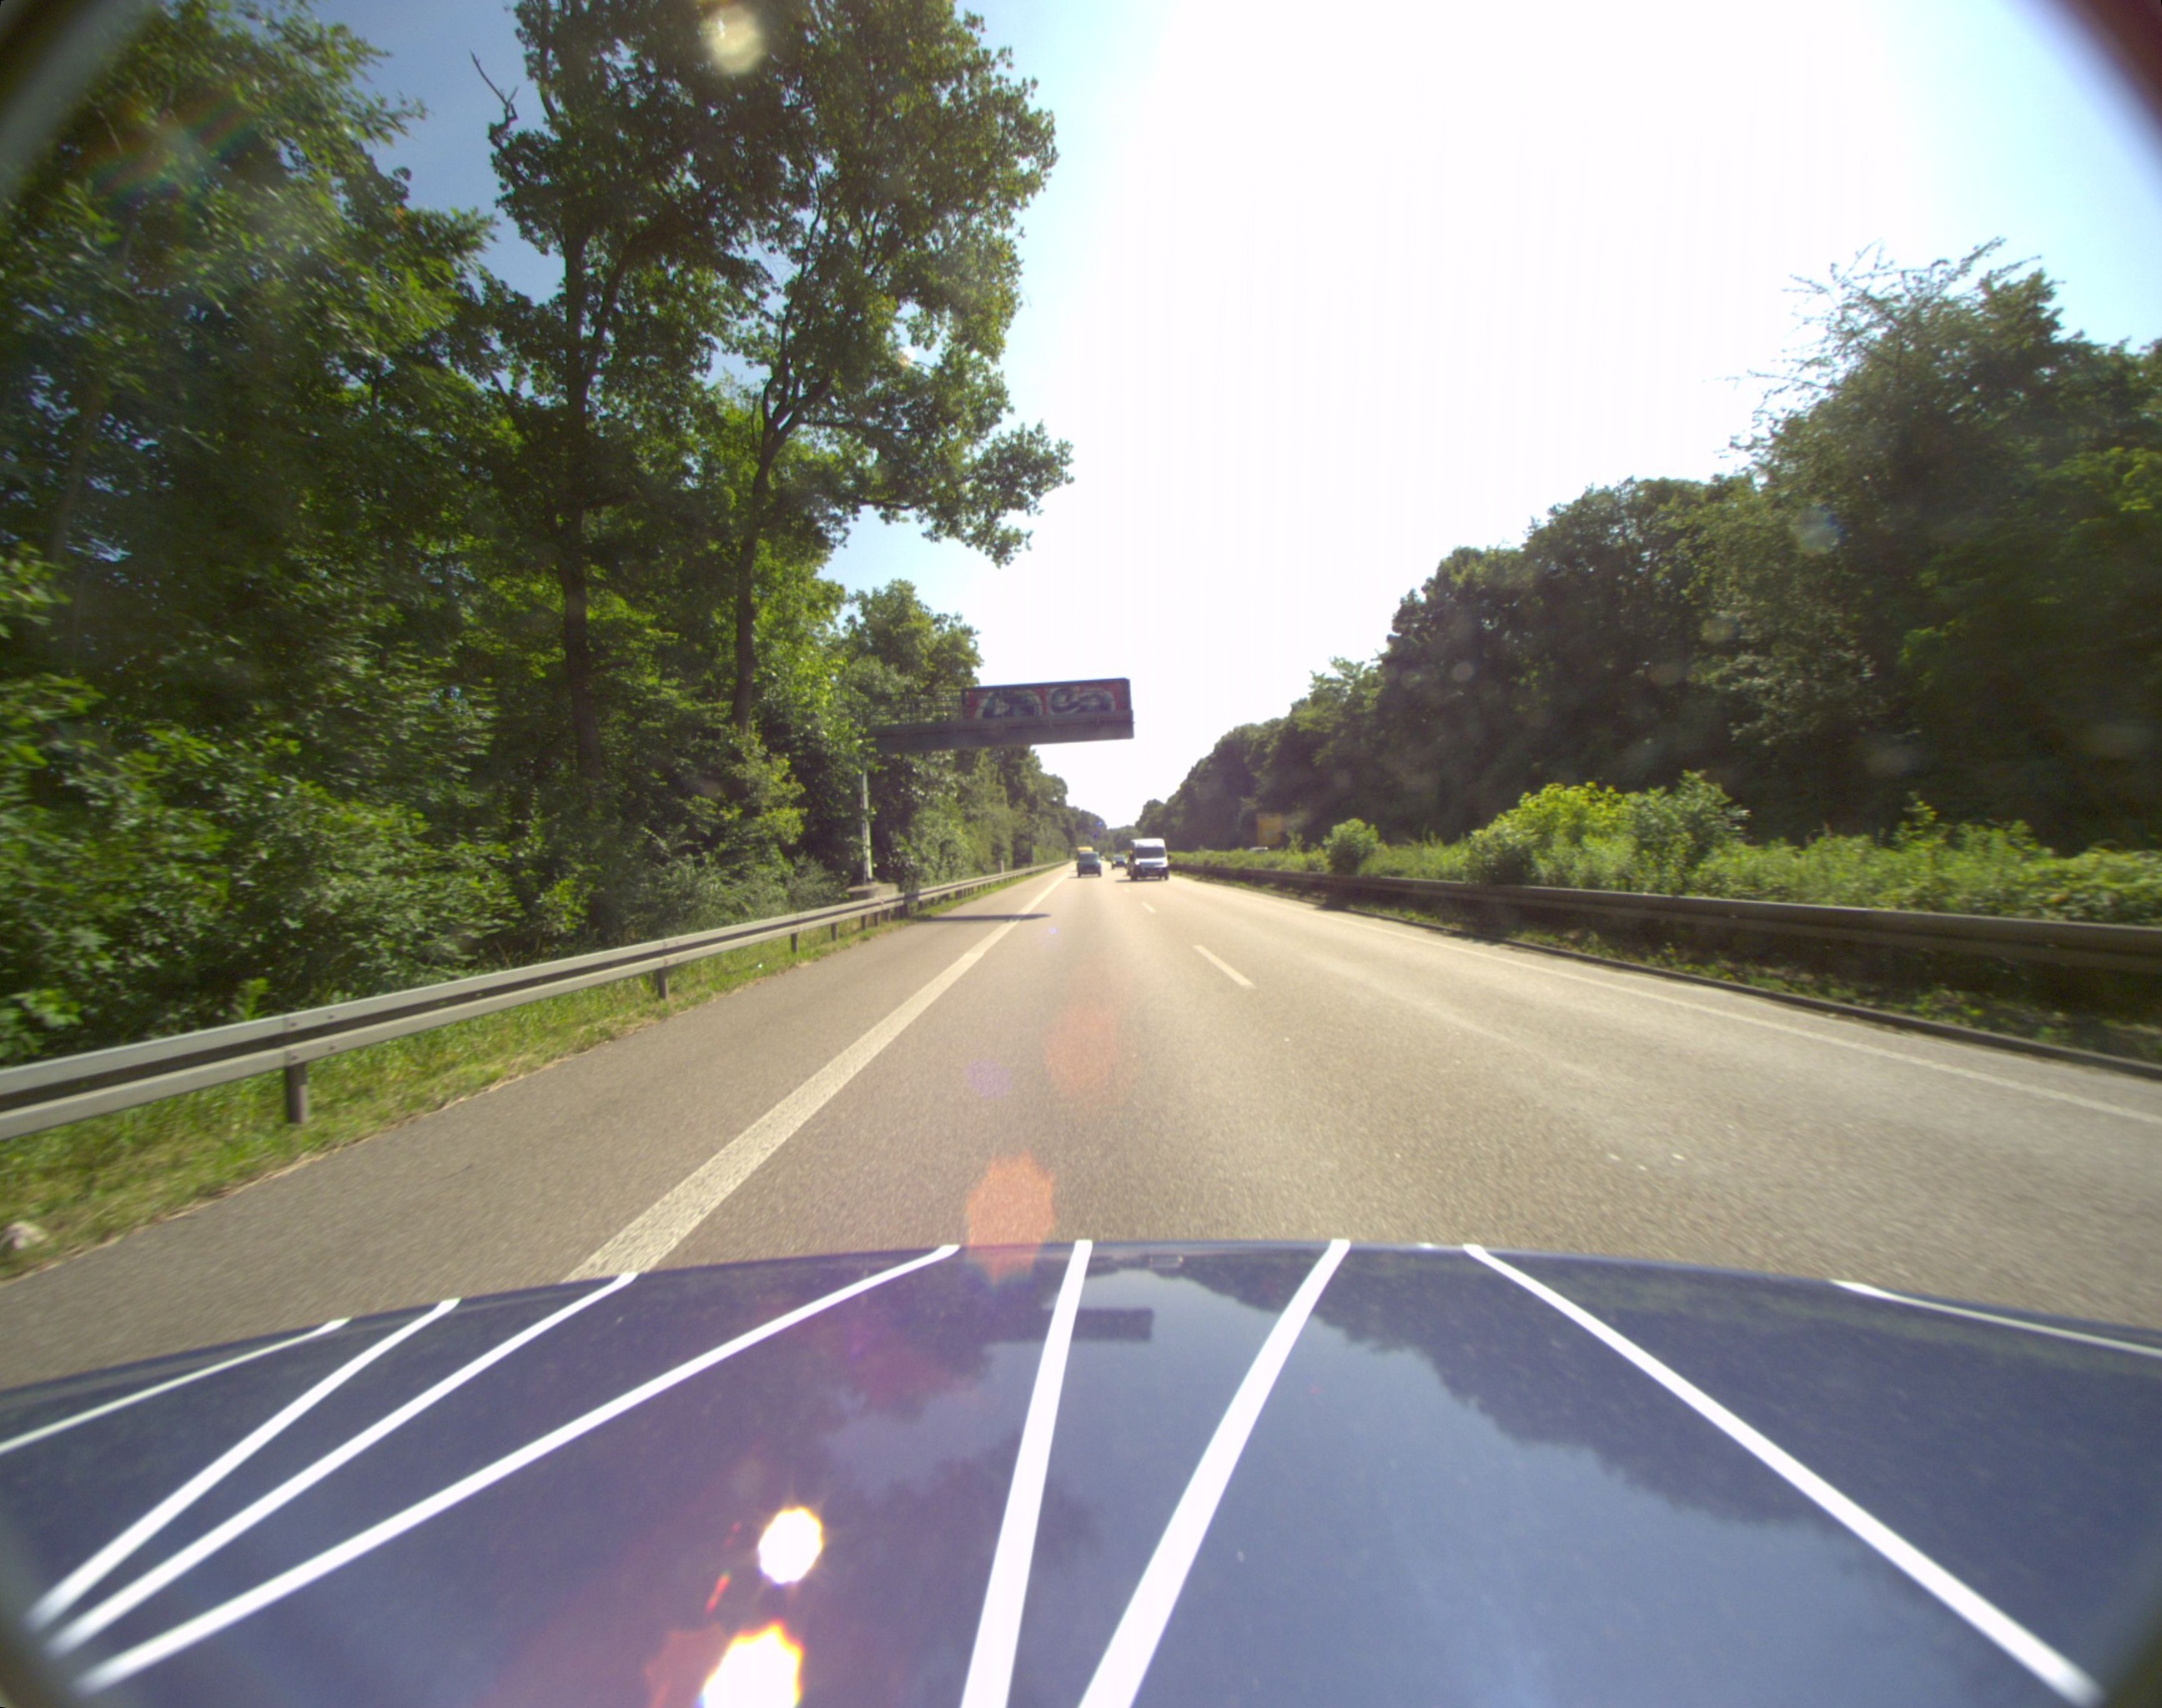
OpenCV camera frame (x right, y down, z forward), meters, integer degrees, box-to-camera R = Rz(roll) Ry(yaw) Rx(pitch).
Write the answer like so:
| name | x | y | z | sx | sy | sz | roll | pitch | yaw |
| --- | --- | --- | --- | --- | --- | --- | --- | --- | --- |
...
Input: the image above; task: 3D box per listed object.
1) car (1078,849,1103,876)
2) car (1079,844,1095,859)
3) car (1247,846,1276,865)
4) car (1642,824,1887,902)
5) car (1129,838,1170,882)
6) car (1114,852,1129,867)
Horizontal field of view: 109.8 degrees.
| name | x | y | z | sx | sy | sz | roll | pitch | yaw |
| --- | --- | --- | --- | --- | --- | --- | --- | --- | --- |
| car | 0.708 | 0.635 | 58.695 | 1.812 | 1.921 | 4.581 | -2 | 0 | 0 |
| car | 0.742 | -0.244 | 86.669 | 1.737 | 1.624 | 3.899 | -2 | 0 | 1 |
| car | 16.663 | 0.157 | 70.434 | 1.697 | 1.652 | 4.000 | 0 | -1 | 0 |
| car | 16.189 | 0.212 | 18.423 | 1.697 | 1.652 | 4.714 | 0 | -1 | 0 |
| car | 4.070 | 0.334 | 45.912 | 2.046 | 2.429 | 4.637 | -2 | 0 | 0 |
| car | 4.675 | 0.608 | 88.415 | 1.517 | 1.624 | 3.611 | -2 | 0 | 1 |
